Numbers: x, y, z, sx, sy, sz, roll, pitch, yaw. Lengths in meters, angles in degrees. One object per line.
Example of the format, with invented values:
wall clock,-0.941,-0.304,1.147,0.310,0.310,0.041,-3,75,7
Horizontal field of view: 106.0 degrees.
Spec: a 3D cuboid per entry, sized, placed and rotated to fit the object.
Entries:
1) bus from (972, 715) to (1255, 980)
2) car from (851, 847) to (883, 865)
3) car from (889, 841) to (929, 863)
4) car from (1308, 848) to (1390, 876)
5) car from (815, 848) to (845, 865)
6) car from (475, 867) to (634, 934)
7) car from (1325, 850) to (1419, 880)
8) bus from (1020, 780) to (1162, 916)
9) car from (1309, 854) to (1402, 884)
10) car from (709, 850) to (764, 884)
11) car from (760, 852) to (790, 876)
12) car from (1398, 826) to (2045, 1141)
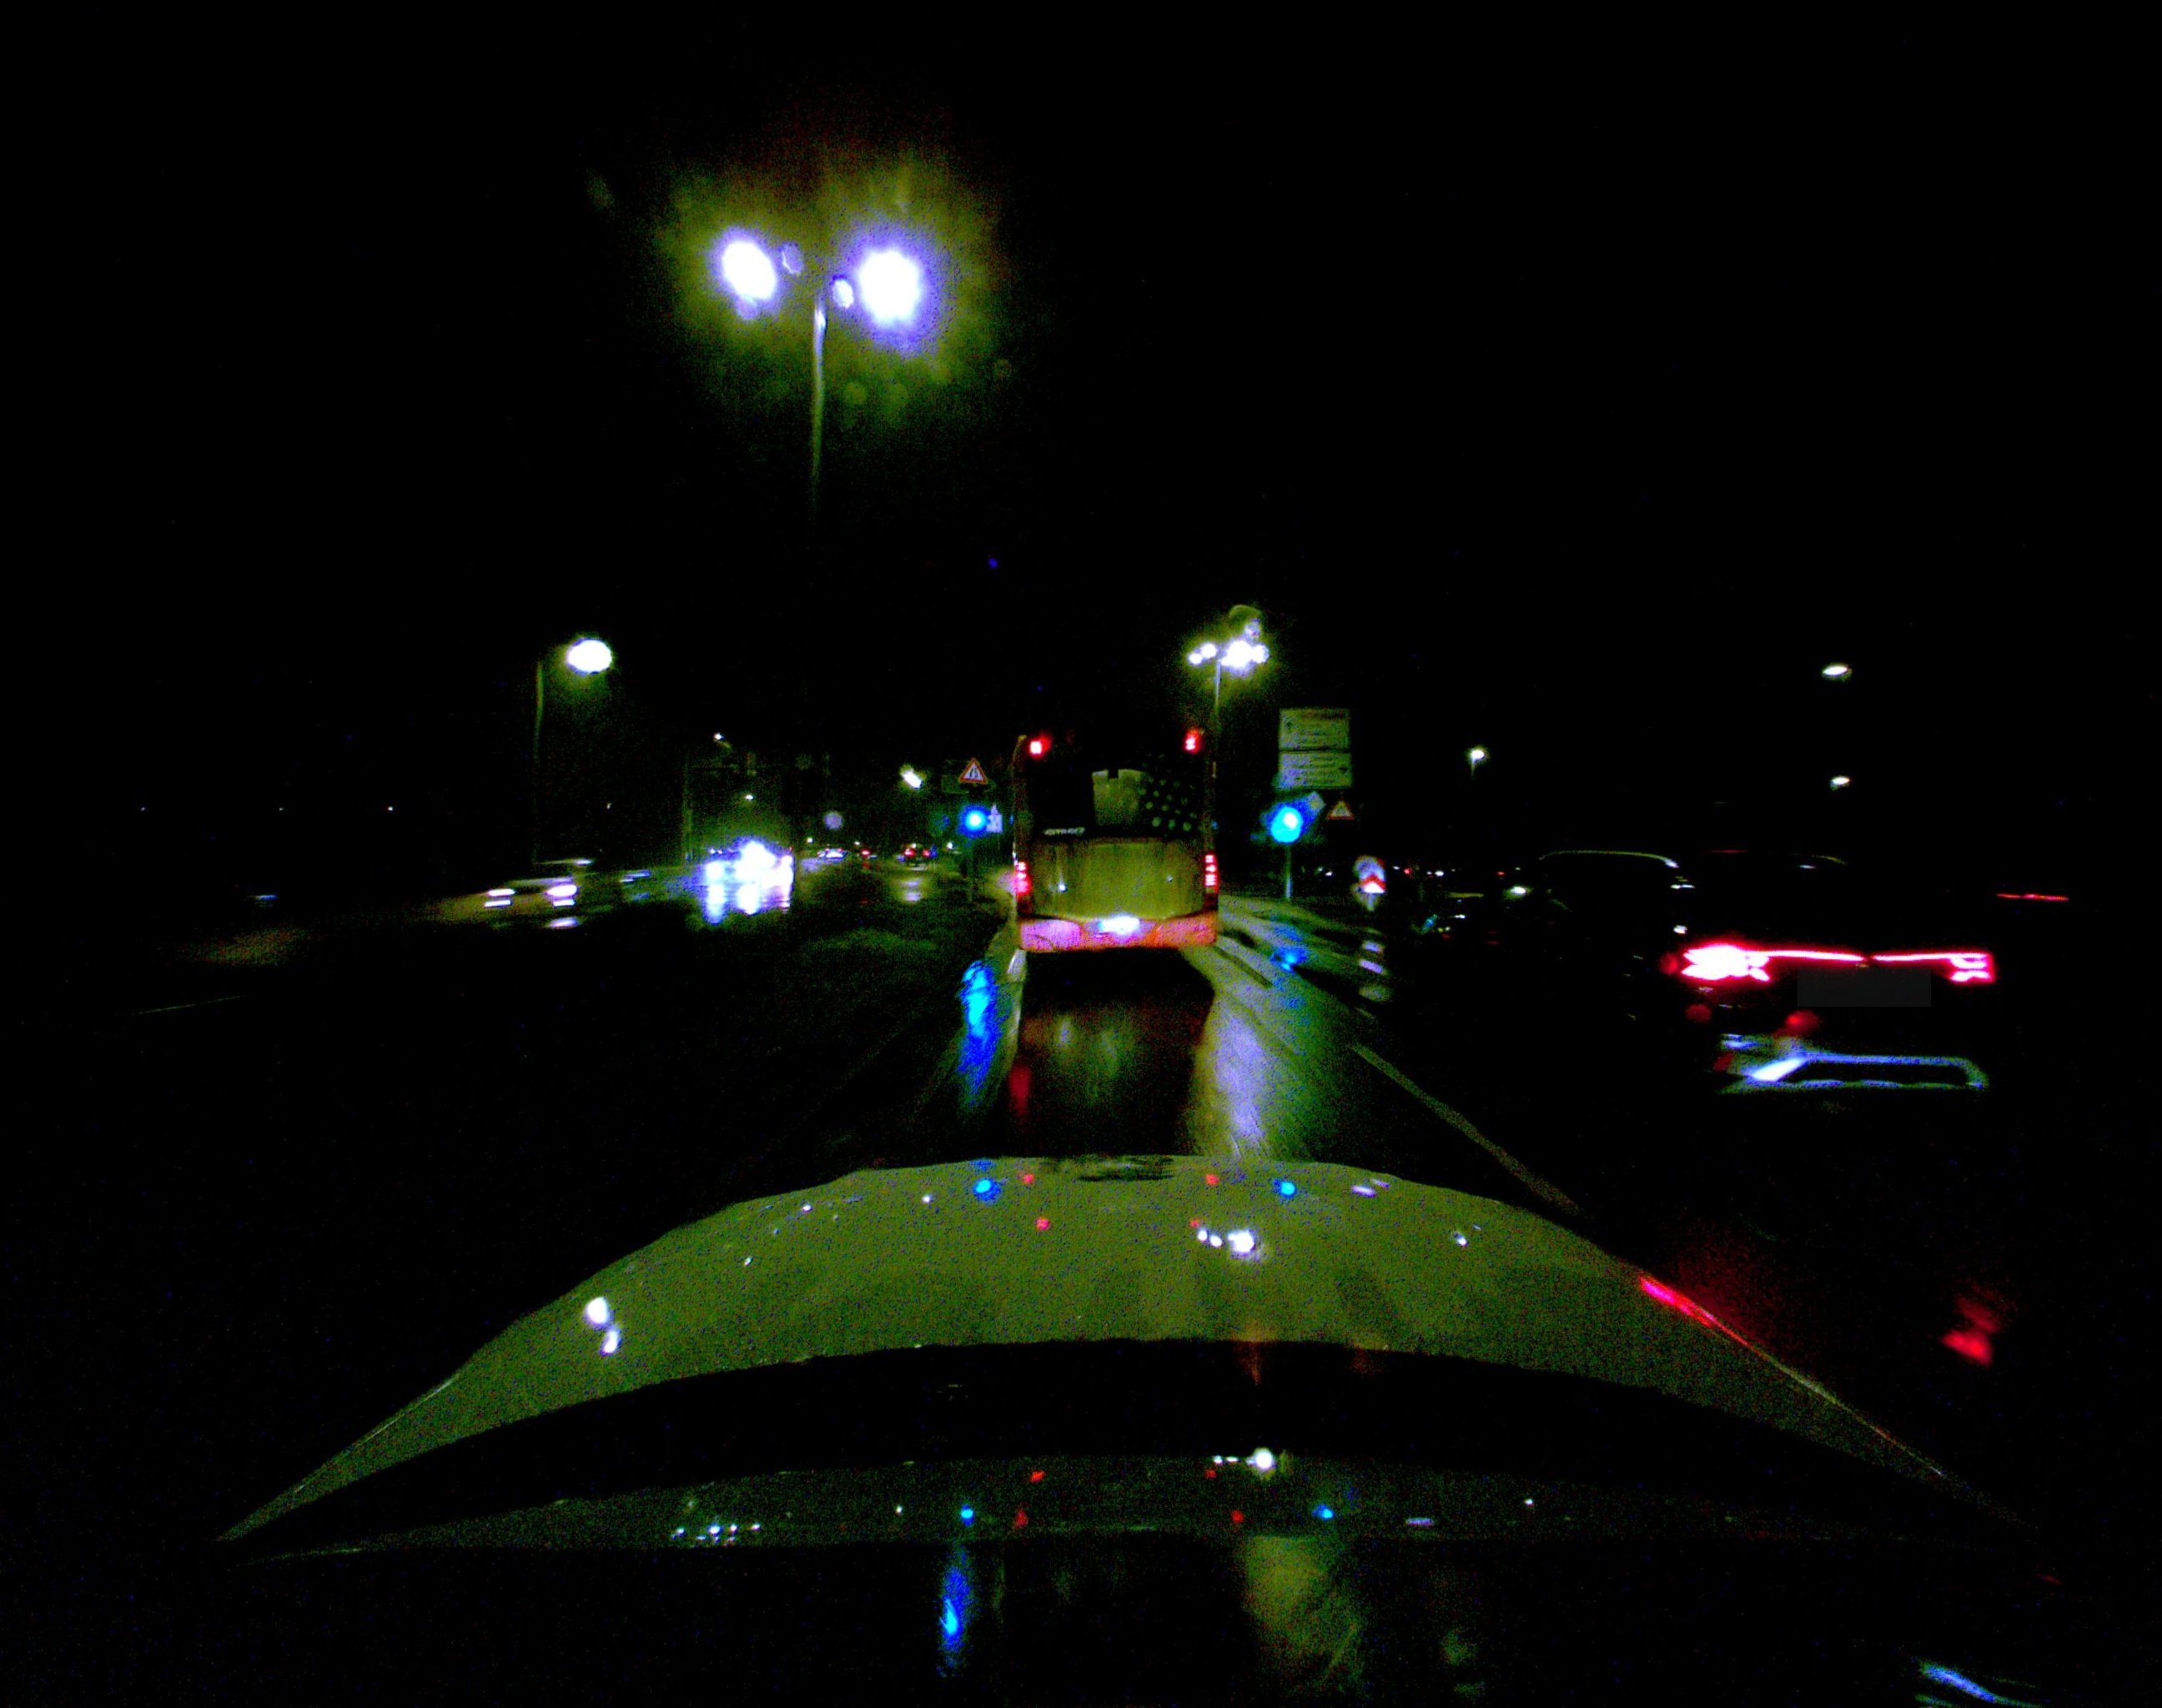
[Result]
bus,0.370,-0.148,14.410,3.275,3.050,9.542,-2,1,0
car,-20.340,0.189,77.302,1.828,1.618,3.960,1,-1,-32
car,-13.539,-0.113,63.982,1.827,1.618,3.961,1,-1,-31
car,15.672,0.476,47.764,4.153,1.519,1.855,1,1,-3
car,-26.346,0.287,85.534,2.102,1.644,3.693,5,-2,-31
car,-13.493,1.120,21.180,1.731,1.495,3.934,-2,0,-4
car,15.936,0.572,44.678,4.472,1.519,1.855,1,1,-3
bus,-0.081,-0.208,23.482,3.242,3.120,8.631,2,1,-5
car,13.628,0.729,40.609,4.032,1.345,1.746,1,1,-3
car,-16.634,0.574,39.535,1.793,1.456,4.554,-2,1,-15
car,-20.581,0.709,54.779,1.796,1.456,4.545,-2,-1,-21
car,3.908,0.663,5.973,1.671,1.521,3.960,1,-1,0
